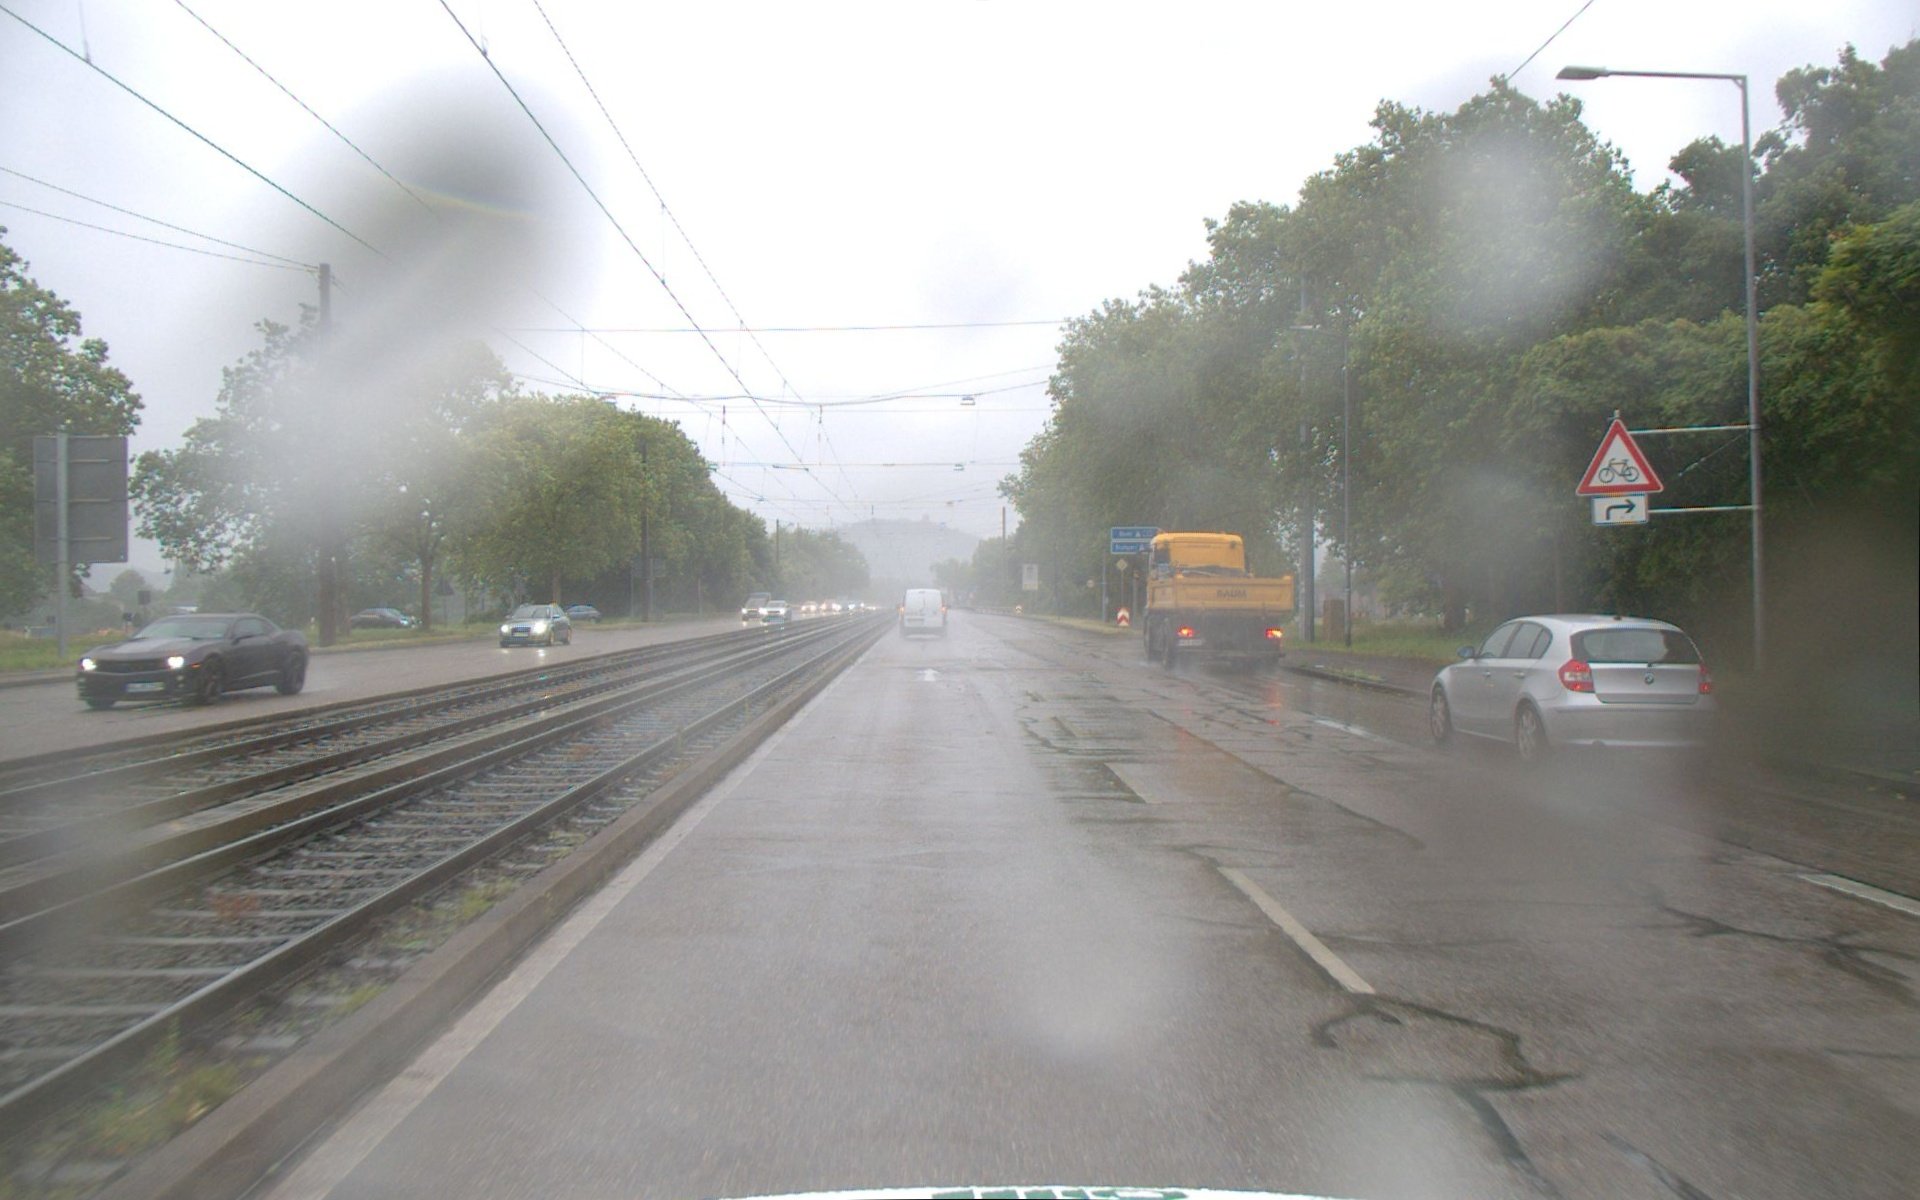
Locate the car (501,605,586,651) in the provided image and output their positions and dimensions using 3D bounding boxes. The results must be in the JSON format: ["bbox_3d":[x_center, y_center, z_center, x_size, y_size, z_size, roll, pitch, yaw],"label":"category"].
[{"bbox_3d":[-14.323,0.931,57.101,1.722,1.386,5.070,1,1,-1],"label":"car"}]

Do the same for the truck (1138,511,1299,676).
[{"bbox_3d":[5.660,-0.184,37.320,2.503,3.314,6.933,1,1,0],"label":"truck"}]

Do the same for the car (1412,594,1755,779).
[{"bbox_3d":[6.058,0.747,16.702,1.593,1.529,4.605,1,1,-2],"label":"car"}]

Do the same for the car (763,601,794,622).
[{"bbox_3d":[-12.855,0.783,117.208,1.706,1.377,4.545,1,1,-1],"label":"car"}]

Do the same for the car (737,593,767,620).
[{"bbox_3d":[-15.684,0.472,124.689,1.849,1.841,5.002,1,1,-3],"label":"car"}]

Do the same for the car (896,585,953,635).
[{"bbox_3d":[-1.273,0.353,60.569,1.948,1.713,3.740,1,1,0],"label":"car"}]

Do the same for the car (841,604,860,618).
[{"bbox_3d":[-13.787,1.389,208.077,1.753,1.576,5.315,1,1,2],"label":"car"}]

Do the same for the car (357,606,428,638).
[{"bbox_3d":[-32.985,1.249,96.124,4.564,1.716,1.837,2,1,40],"label":"car"}]

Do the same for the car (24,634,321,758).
[{"bbox_3d":[-12.086,1.405,25.880,1.952,1.489,5.252,-2,1,2],"label":"car"}]
